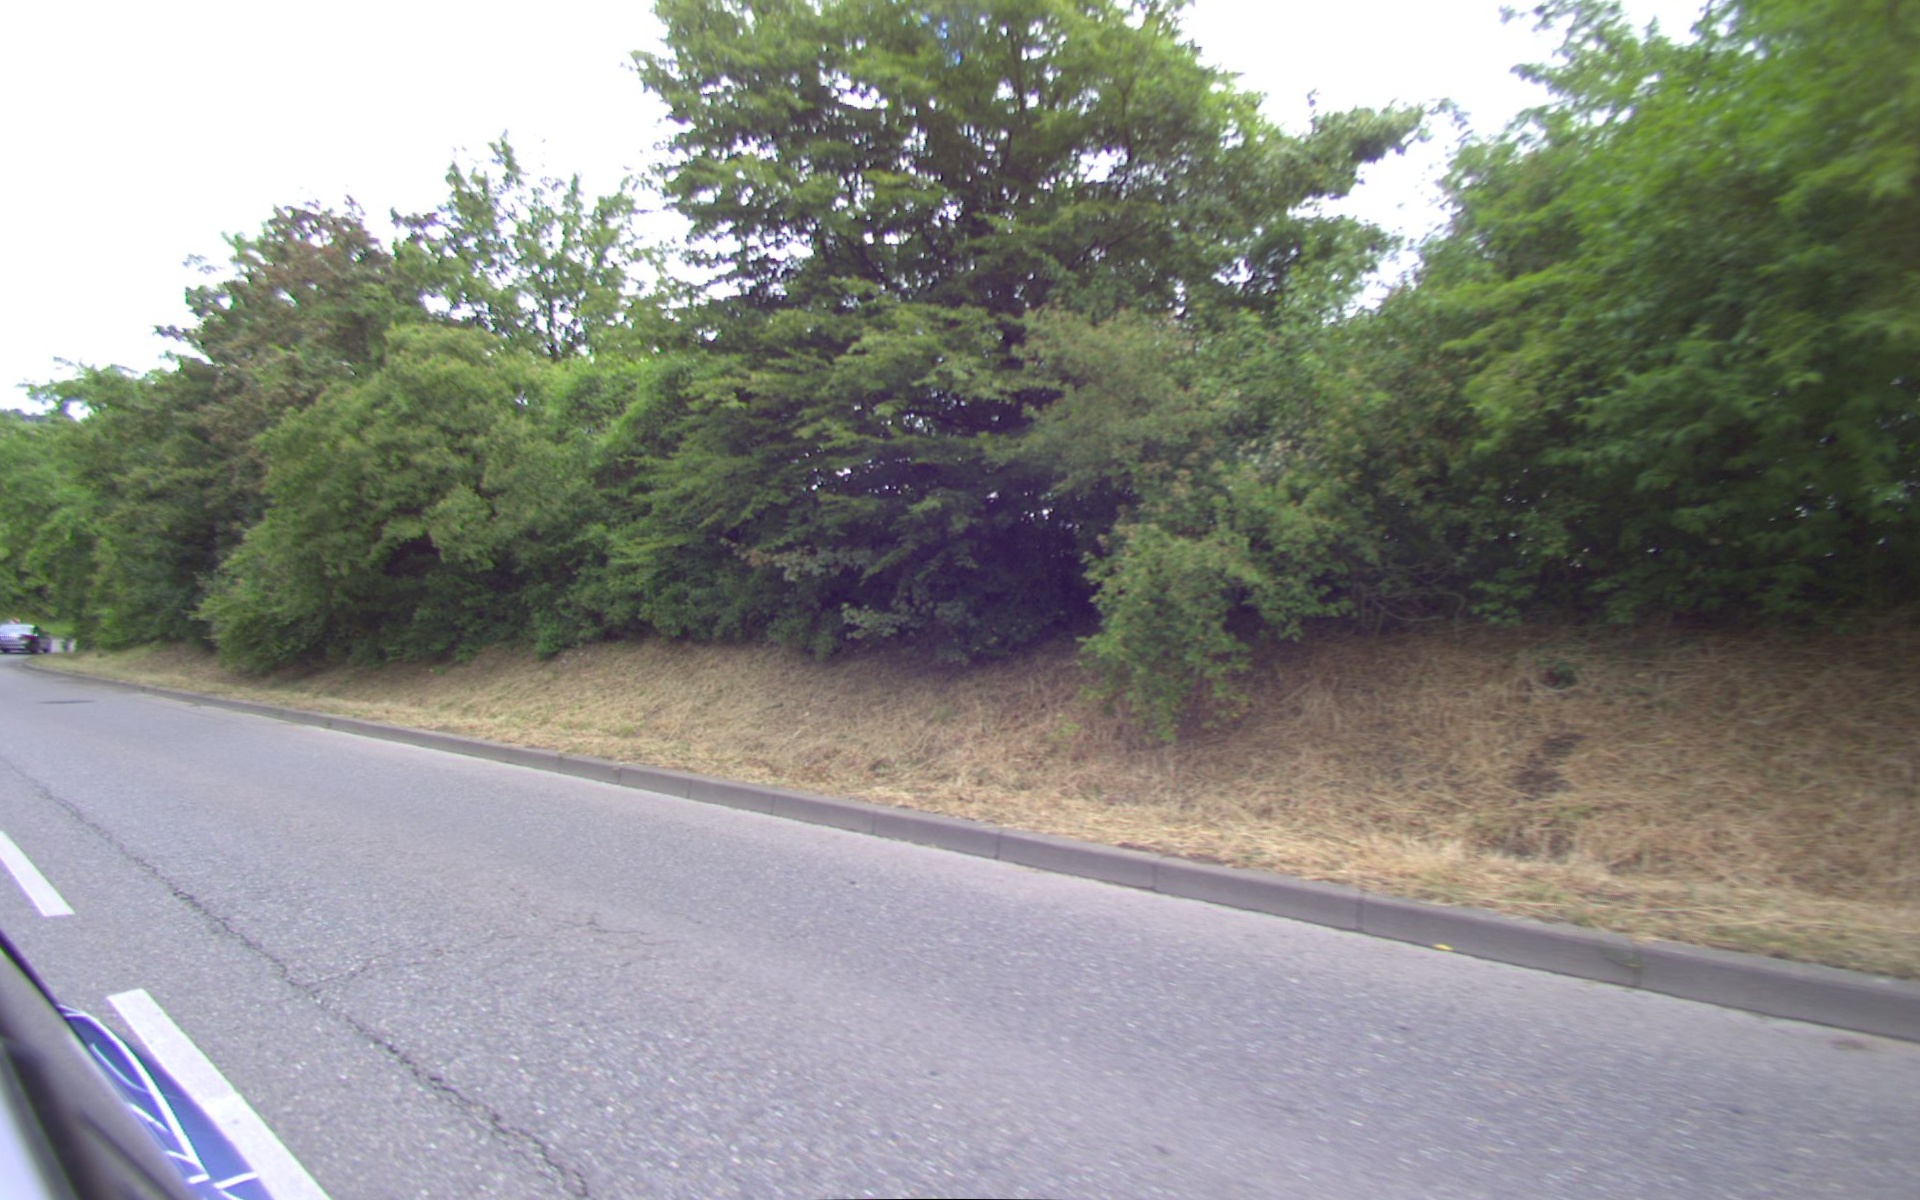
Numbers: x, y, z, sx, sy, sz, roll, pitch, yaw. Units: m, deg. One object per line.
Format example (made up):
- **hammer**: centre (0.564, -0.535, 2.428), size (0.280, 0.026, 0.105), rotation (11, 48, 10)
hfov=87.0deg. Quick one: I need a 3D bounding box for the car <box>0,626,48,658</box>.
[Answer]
- **car**: centre (-46.359, 2.037, 49.767), size (1.807, 1.416, 4.441), rotation (-1, 0, -37)
